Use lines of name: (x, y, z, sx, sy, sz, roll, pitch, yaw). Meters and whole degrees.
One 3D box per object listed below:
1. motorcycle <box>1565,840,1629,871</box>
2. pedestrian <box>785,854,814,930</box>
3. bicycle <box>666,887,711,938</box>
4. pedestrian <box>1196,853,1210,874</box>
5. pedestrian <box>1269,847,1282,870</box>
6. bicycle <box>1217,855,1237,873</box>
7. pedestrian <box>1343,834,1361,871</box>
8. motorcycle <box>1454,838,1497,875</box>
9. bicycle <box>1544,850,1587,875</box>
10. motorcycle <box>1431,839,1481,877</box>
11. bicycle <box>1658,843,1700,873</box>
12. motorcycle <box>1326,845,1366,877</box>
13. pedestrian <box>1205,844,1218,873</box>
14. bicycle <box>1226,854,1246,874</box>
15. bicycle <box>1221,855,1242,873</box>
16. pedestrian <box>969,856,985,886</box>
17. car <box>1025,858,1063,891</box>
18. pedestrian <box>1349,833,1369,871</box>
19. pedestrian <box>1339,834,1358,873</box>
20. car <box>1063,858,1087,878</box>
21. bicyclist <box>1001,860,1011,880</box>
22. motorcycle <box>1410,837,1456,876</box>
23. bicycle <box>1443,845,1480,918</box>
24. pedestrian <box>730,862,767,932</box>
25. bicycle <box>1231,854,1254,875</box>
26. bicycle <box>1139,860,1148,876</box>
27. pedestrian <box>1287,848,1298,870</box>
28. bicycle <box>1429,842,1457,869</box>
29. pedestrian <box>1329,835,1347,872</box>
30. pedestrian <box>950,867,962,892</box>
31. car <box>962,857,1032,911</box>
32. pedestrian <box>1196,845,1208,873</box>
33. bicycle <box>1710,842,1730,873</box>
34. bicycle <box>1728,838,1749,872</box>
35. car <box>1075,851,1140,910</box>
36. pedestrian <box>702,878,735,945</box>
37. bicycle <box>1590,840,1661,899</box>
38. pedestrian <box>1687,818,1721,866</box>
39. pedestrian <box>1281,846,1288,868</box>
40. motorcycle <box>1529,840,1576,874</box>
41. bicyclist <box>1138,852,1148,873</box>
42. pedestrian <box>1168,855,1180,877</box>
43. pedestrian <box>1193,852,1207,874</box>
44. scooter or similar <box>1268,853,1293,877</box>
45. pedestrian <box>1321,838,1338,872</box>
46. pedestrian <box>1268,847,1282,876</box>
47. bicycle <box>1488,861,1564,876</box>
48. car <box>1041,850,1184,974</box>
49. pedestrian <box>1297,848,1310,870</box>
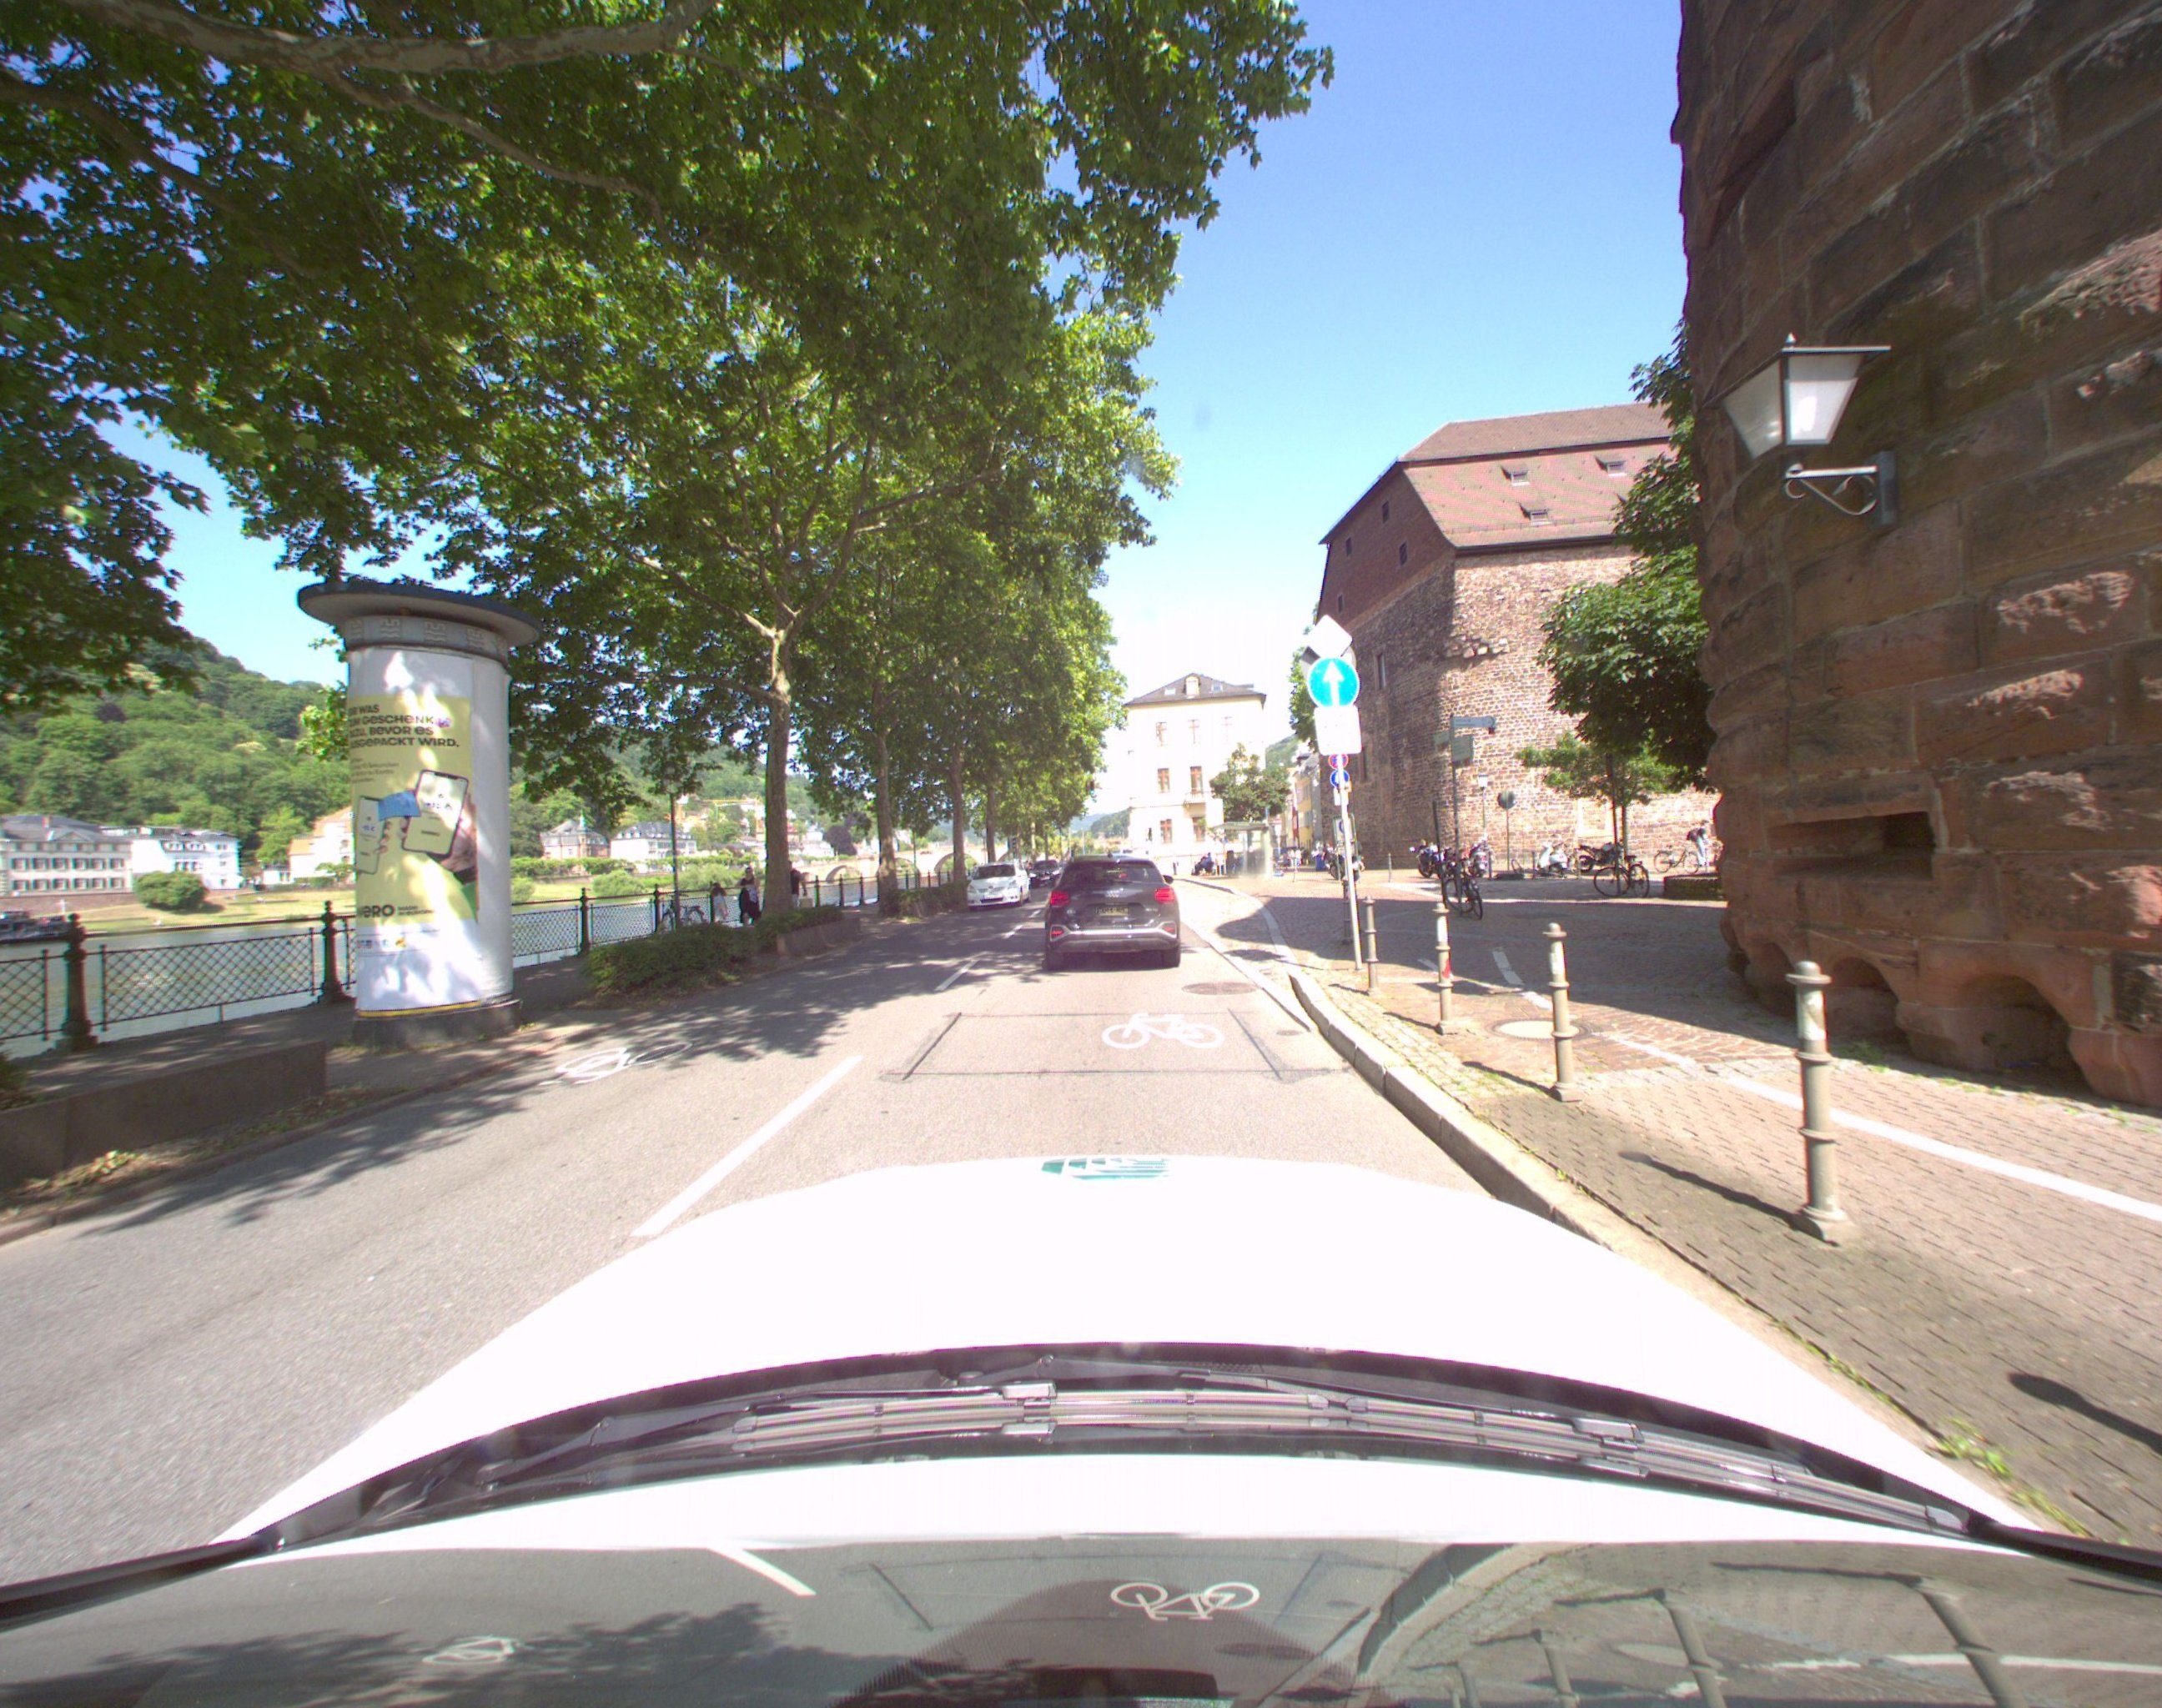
motorcycle: (18.169, 0.070, 28.720, 1.854, 1.054, 0.481, -1, -1, 9)
pedestrian: (-7.043, 0.949, 20.414, 0.532, 1.887, 0.437, -1, -1, 1)
bicycle: (-8.963, 1.318, 18.648, 0.358, 1.091, 1.296, 1, 0, 1)
pedestrian: (6.854, 0.538, 45.838, 0.662, 1.212, 0.640, -1, -1, -5)
pedestrian: (17.078, 0.436, 71.622, 0.941, 2.014, 0.808, -1, -1, 2)
bicycle: (8.463, 0.589, 47.164, 1.187, 1.016, 0.178, 0, -1, -17)
pedestrian: (14.332, -0.090, 43.068, 0.666, 1.920, 0.821, -1, -1, 1)
motorcycle: (13.663, 0.116, 28.245, 0.544, 1.235, 2.031, -1, -1, 2)
bicycle: (16.548, 0.264, 27.838, 0.352, 0.820, 1.926, -1, 0, 1)
motorcycle: (12.770, 0.163, 27.796, 0.672, 1.235, 2.313, -1, -1, 2)
bicycle: (19.708, 0.146, 26.876, 0.358, 0.966, 1.381, -1, -1, 1)
motorcycle: (9.007, 0.232, 27.795, 0.564, 1.012, 2.490, -3, 0, 1)
pedestrian: (9.165, 0.330, 57.266, 0.632, 2.014, 0.670, -1, -2, 31)
bicycle: (8.690, 0.563, 45.722, 1.160, 1.070, 0.178, 0, -1, -17)
bicycle: (8.603, 0.554, 46.504, 1.205, 1.035, 0.178, 0, -1, -17)
pedestrian: (-7.147, 1.158, 55.980, 0.906, 2.014, 0.586, -1, -1, 6)
car: (-2.225, 1.237, 50.528, 1.806, 1.725, 4.423, -8, 0, 2)
pedestrian: (14.983, -0.085, 43.913, 0.727, 2.014, 0.878, -1, -1, 1)
pedestrian: (13.251, -0.021, 40.361, 0.744, 1.890, 0.753, -1, -1, 4)
car: (-0.523, 1.311, 74.838, 1.985, 1.806, 4.003, -1, -1, 3)
bicyclist: (-4.966, 1.064, 53.864, 0.565, 1.311, 0.551, -1, -1, -3)
motorcycle: (11.937, 0.101, 27.691, 0.653, 1.266, 2.201, -2, -1, 2)
bicycle: (6.752, 0.452, 14.483, 0.192, 1.204, 1.775, -2, 0, 13)
pedestrian: (-8.295, 1.052, 20.323, 0.599, 1.685, 0.583, -3, -1, 0)
bicycle: (8.949, 0.574, 45.044, 1.307, 1.128, 0.178, 0, -1, -17)
bicycle: (4.355, 0.967, 56.933, 0.436, 1.086, 1.675, -1, -1, -2)
pedestrian: (19.550, 0.474, 75.227, 0.836, 2.014, 0.738, -1, -1, 2)
bicycle: (16.686, 0.097, 37.562, 0.388, 1.209, 1.715, -1, -1, -6)
pedestrian: (13.486, -0.013, 42.797, 0.666, 1.884, 0.821, -1, -1, 1)
pedestrian: (-8.138, 1.659, 52.995, 0.621, 1.619, 0.586, -1, -1, 6)
car: (-2.843, 0.983, 28.393, 1.732, 1.572, 4.093, -6, 0, 2)
pedestrian: (8.615, 0.362, 57.850, 0.632, 2.014, 0.670, -1, -2, 31)
bicycle: (20.335, 0.121, 25.919, 0.356, 0.949, 1.390, -2, -1, 33)
bicycle: (21.443, 0.032, 26.564, 0.356, 1.085, 1.390, -2, -1, 33)
car: (0.780, 0.742, 24.024, 1.786, 1.595, 3.400, -1, 0, 2)
pedestrian: (-7.531, 1.189, 16.921, 0.476, 1.363, 0.418, -1, 0, 5)
bicycle: (11.489, 0.304, 17.242, 0.444, 1.162, 1.732, -2, 0, 5)
pedestrian: (22.255, -0.436, 29.101, 0.799, 1.662, 0.660, -3, -1, 26)
pedestrian: (15.557, 0.235, 62.242, 0.447, 1.680, 0.467, -1, -1, 5)
motorcycle: (15.461, 0.108, 26.758, 0.505, 1.073, 1.840, -1, -1, 2)
bicyclist: (4.356, 0.601, 56.964, 0.604, 1.450, 0.590, -1, -1, -3)
pedestrian: (6.407, 0.856, 56.011, 0.691, 1.500, 0.513, -1, -1, -3)
pedestrian: (6.800, 0.528, 46.593, 0.662, 1.231, 0.640, -1, -1, -5)
scooter or similar: (9.088, 0.486, 37.109, 1.085, 1.066, 0.323, -1, -1, -1)
pedestrian: (13.452, 0.067, 44.077, 0.649, 1.802, 0.847, -2, -1, 1)
pedestrian: (9.505, 0.362, 39.963, 0.555, 1.385, 0.588, -1, -1, 4)
bicycle: (13.647, 0.444, 25.035, 1.914, 0.381, 0.921, -2, -1, 16)
car: (0.447, 0.724, 11.926, 1.736, 1.509, 3.648, -1, 0, 2)
pedestrian: (20.531, 0.456, 75.222, 0.936, 2.014, 0.808, -1, -1, 2)
